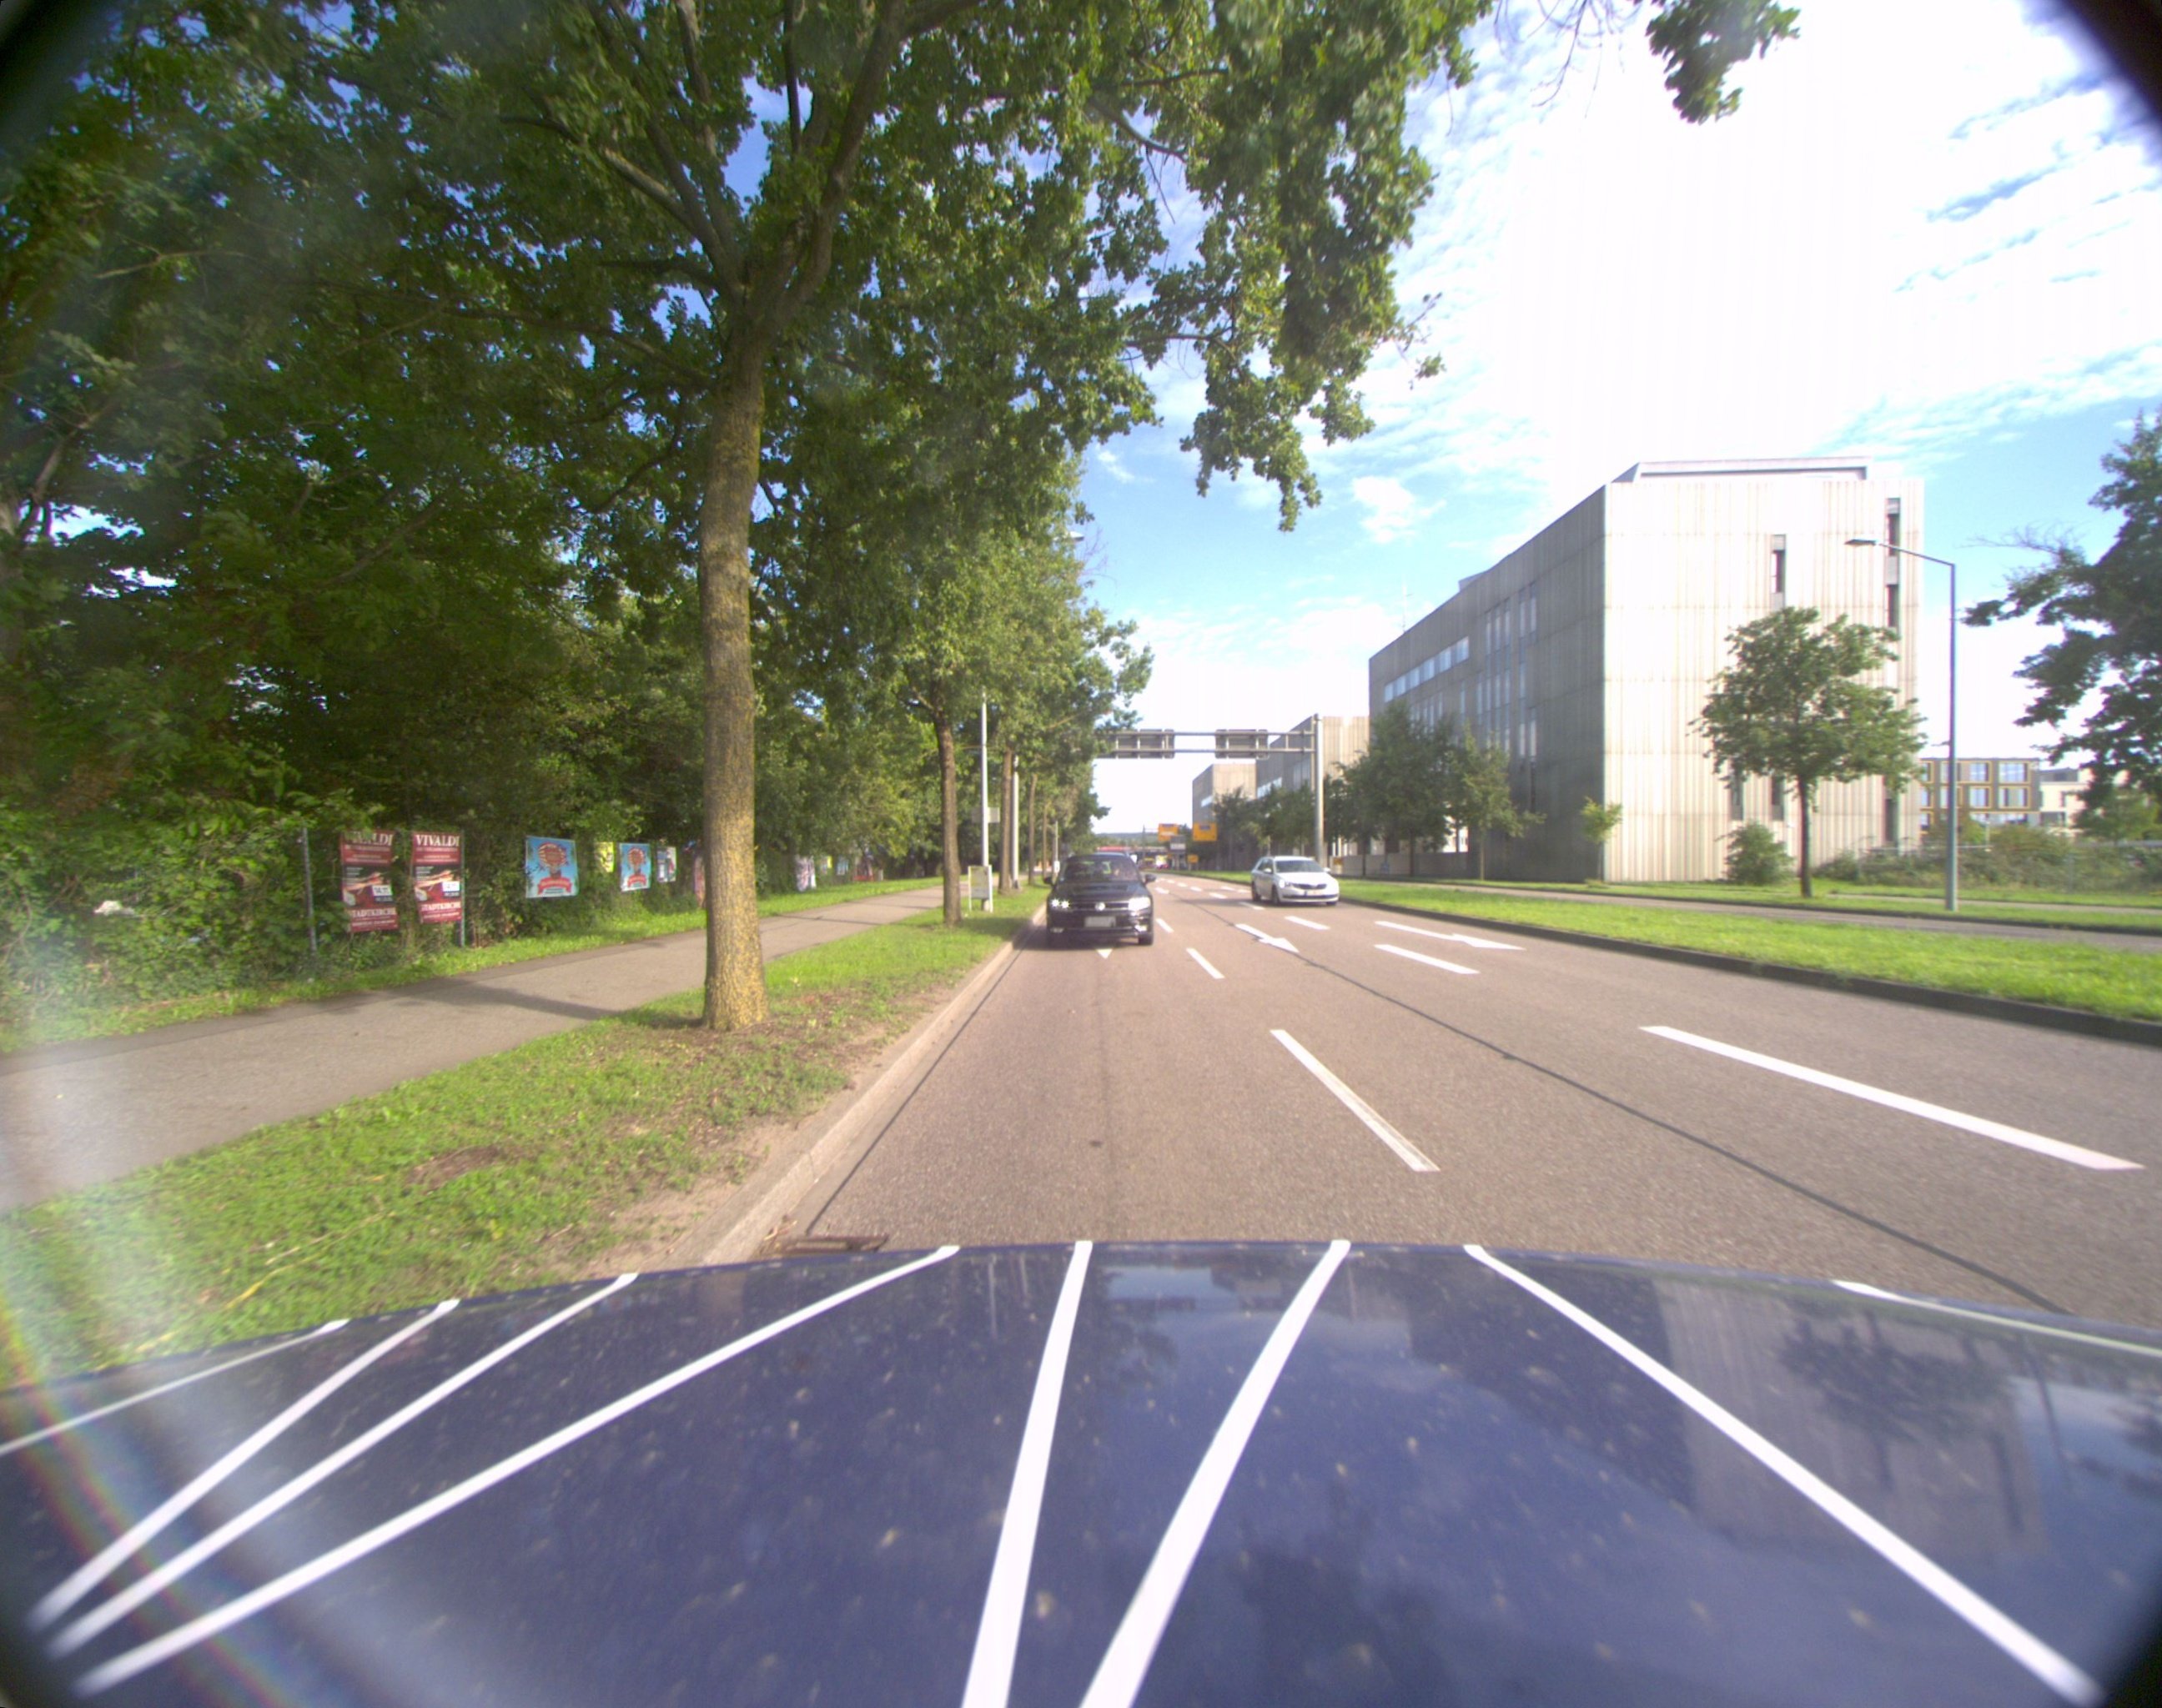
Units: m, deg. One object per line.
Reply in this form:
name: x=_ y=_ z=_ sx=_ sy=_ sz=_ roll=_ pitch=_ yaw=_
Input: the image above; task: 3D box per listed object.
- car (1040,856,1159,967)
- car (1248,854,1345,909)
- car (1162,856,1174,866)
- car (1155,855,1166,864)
car: x=0.333 y=0.883 z=13.608 sx=1.775 sy=1.637 sz=3.869 roll=-2 pitch=0 yaw=2
car: x=6.440 y=0.761 z=23.176 sx=1.702 sy=1.489 sz=4.481 roll=-1 pitch=0 yaw=1
car: x=17.166 y=1.435 z=150.134 sx=1.998 sy=2.002 sz=4.000 roll=0 pitch=0 yaw=0
car: x=17.306 y=1.212 z=165.715 sx=1.998 sy=2.002 sz=3.983 roll=0 pitch=0 yaw=0
